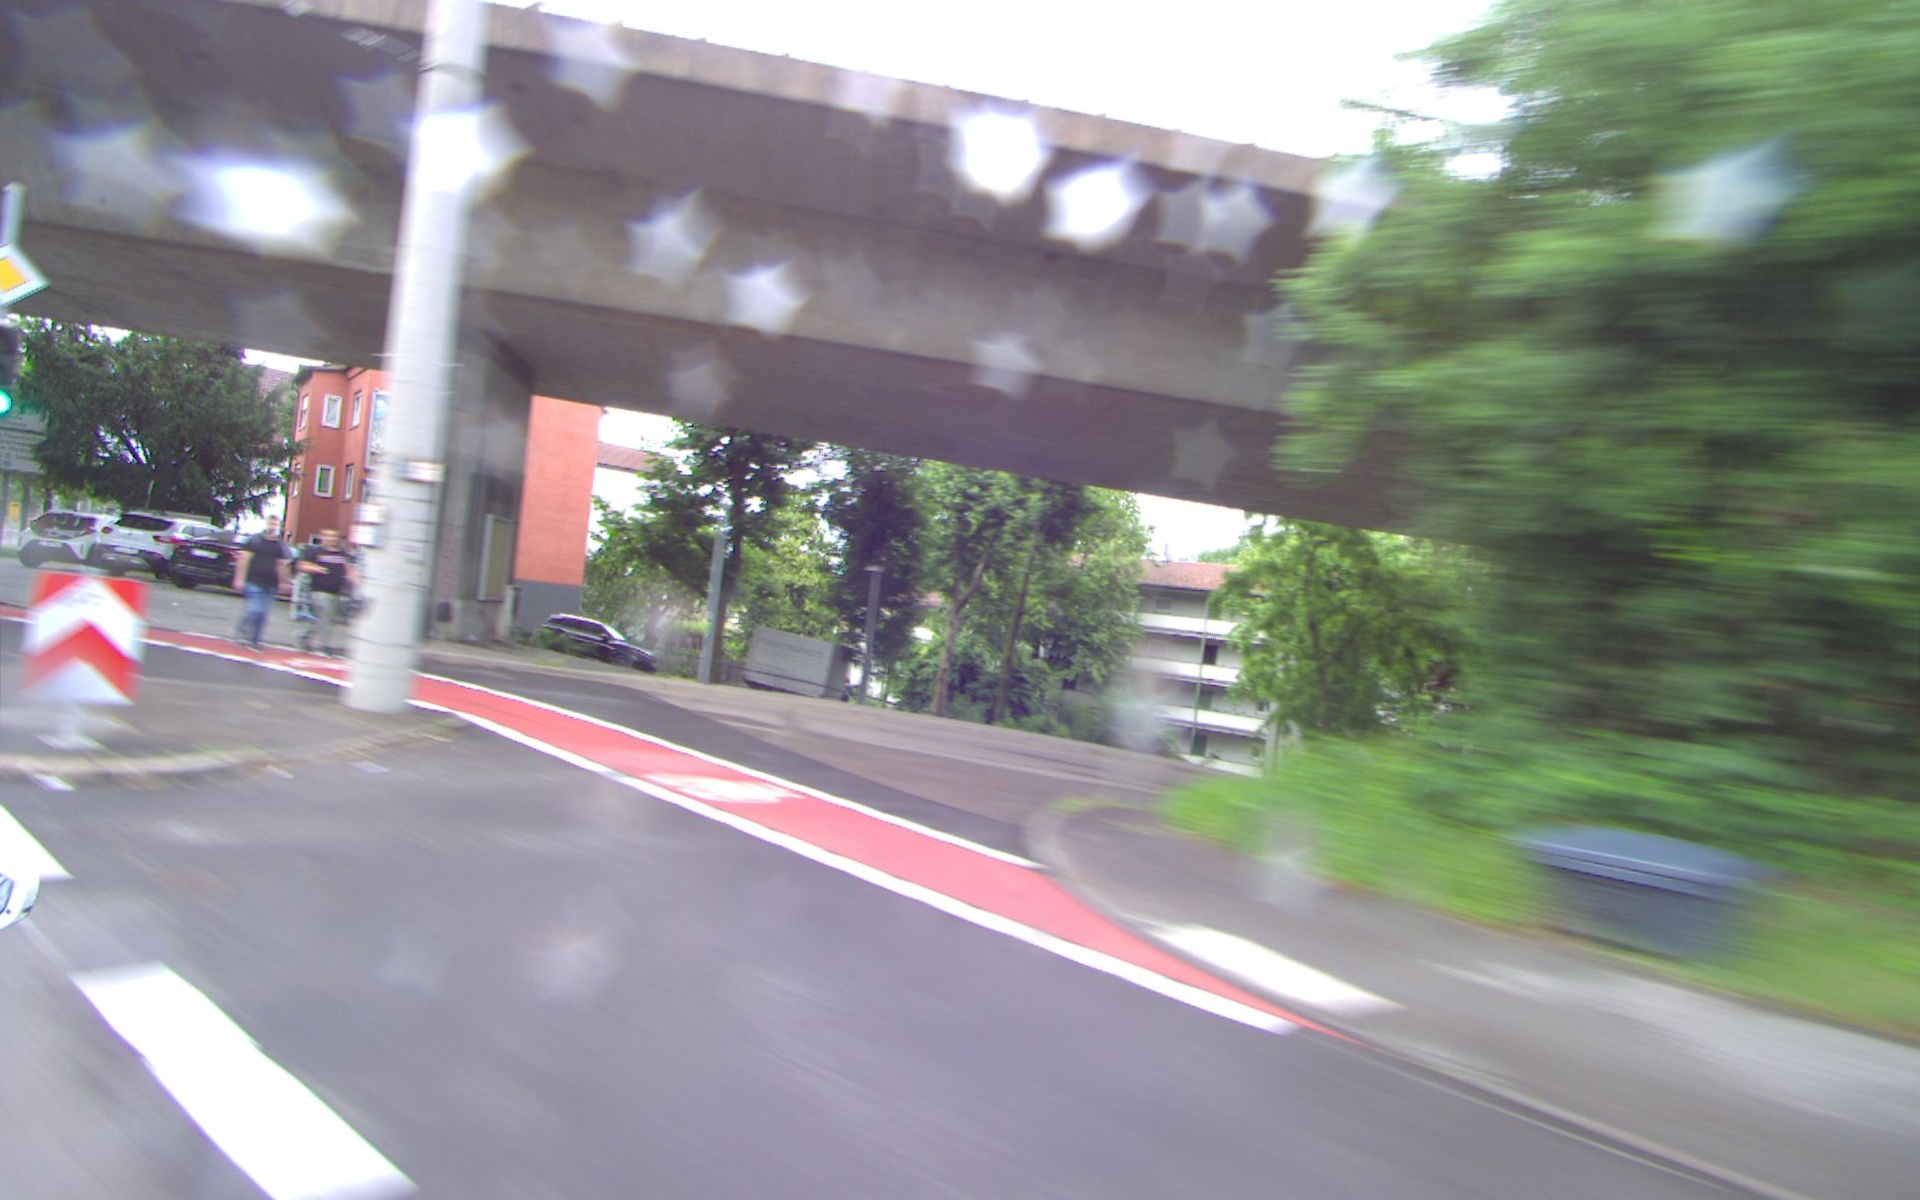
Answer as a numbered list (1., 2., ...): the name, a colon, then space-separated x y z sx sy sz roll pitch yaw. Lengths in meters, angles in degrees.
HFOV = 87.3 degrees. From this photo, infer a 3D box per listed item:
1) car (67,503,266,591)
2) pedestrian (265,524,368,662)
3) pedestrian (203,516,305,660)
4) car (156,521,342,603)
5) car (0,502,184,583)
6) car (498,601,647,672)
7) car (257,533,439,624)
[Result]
1. car: -19.674 -1.236 25.217 1.933 1.649 4.022 7 -2 -7
2. pedestrian: -9.213 -0.097 14.414 0.892 1.842 0.600 6 -3 20
3. pedestrian: -9.583 -0.161 13.666 0.822 1.828 0.627 6 -3 30
4. car: -16.818 -0.818 24.069 1.756 1.456 4.049 8 -2 -6
5. car: -22.167 -1.395 25.798 1.771 1.539 3.735 7 -2 -7
6. car: -12.590 1.214 32.801 3.976 1.613 1.978 12 -4 -40
7. car: -14.272 -0.424 23.775 1.871 1.588 4.003 8 -4 -4
